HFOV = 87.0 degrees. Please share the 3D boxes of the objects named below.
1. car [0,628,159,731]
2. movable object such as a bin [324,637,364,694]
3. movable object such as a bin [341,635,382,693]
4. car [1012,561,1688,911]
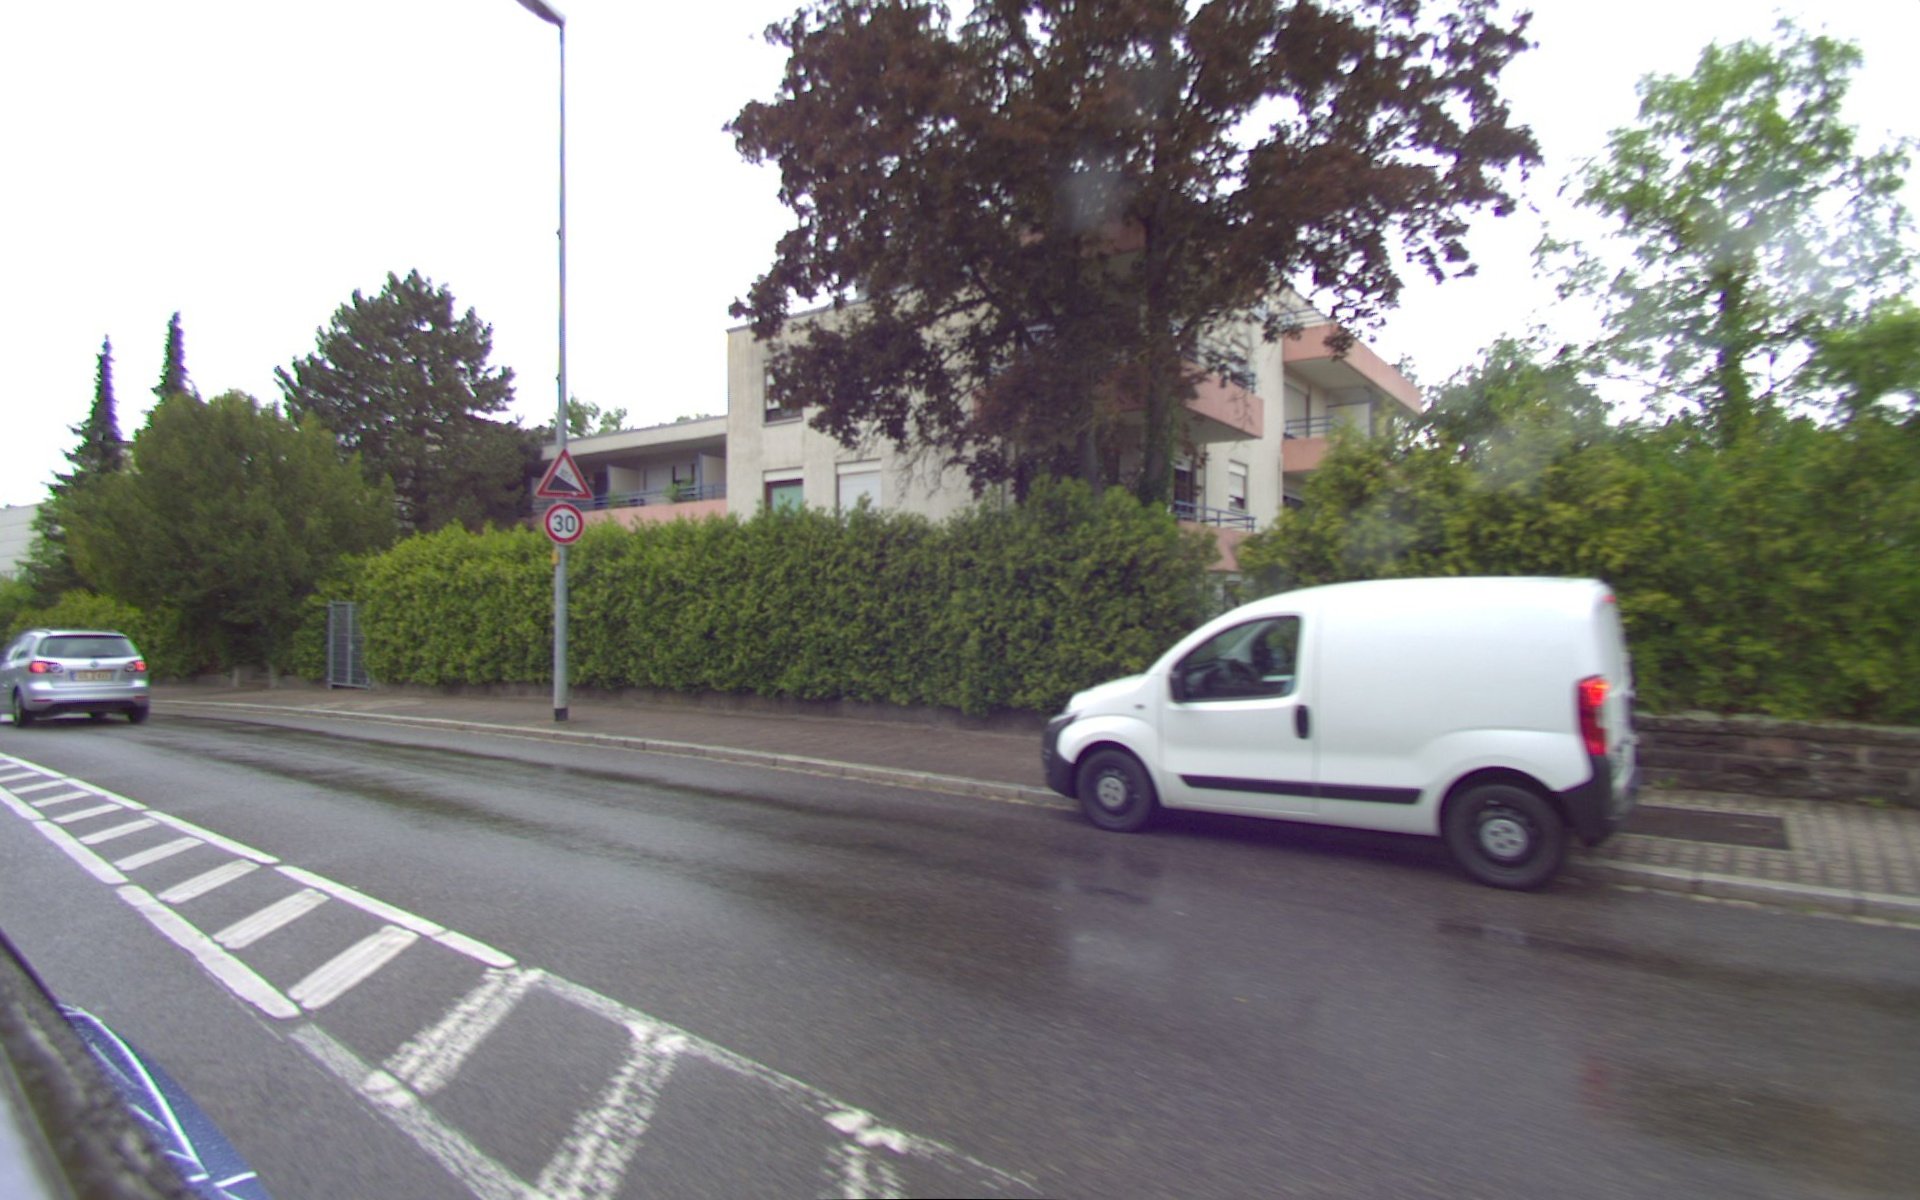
[{"bbox_3d":[-15.654,1.343,17.568,4.048,1.592,1.620,-2,-5,36],"label":"car"},{"bbox_3d":[-15.055,1.602,24.729,0.804,1.336,0.543,-4,-2,35],"label":"movable object such as a bin"},{"bbox_3d":[-14.307,1.521,24.190,0.804,1.336,0.543,-4,-2,35],"label":"movable object such as a bin"},{"bbox_3d":[2.495,0.716,6.952,3.973,1.720,1.685,-2,1,38],"label":"car"}]
